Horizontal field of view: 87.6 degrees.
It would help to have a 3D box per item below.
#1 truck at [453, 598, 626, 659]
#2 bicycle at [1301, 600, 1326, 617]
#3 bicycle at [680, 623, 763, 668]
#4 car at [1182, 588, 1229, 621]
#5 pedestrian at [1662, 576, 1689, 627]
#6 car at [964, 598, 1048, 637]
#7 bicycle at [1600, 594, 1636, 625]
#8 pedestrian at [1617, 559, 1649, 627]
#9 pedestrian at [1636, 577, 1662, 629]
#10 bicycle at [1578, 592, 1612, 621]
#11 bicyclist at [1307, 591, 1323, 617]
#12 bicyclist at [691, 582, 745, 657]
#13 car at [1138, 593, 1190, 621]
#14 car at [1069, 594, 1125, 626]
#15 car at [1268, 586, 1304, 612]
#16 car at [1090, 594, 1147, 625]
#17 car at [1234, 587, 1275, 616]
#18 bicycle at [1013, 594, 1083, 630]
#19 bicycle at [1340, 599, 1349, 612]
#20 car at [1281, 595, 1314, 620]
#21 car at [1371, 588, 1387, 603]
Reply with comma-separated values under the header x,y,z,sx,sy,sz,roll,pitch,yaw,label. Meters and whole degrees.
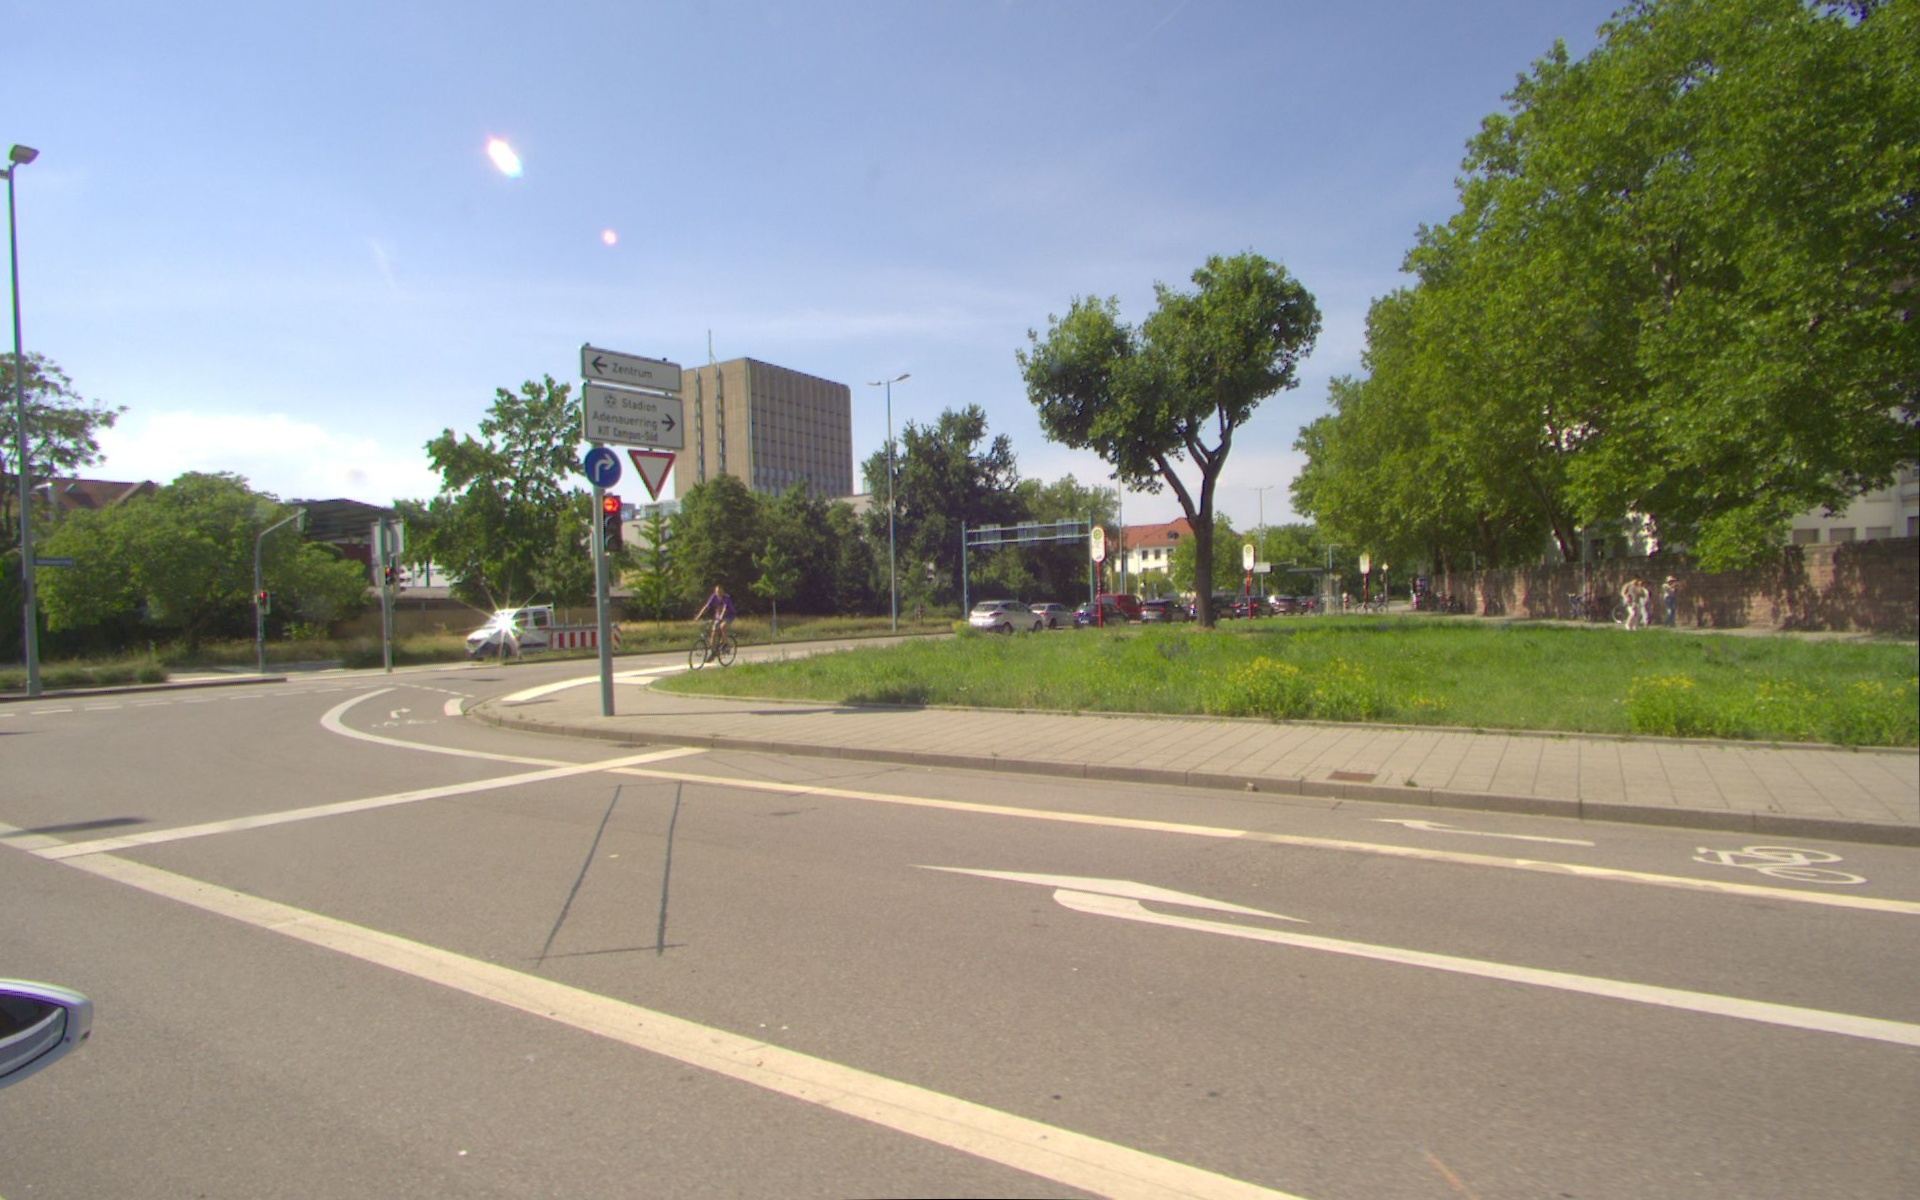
x,y,z,sx,sy,sz,roll,pitch,yaw,label
-18.809,1.202,45.264,2.380,2.386,7.007,-3,-1,33,truck
28.341,0.674,80.247,0.838,1.233,3.462,-2,-2,37,bicycle
-5.356,1.014,22.617,0.675,0.899,1.923,-1,0,30,bicycle
16.499,0.281,67.206,1.971,2.040,3.980,-1,1,30,car
22.605,0.046,31.632,0.515,1.599,0.701,-2,1,23,pedestrian
2.157,0.793,46.341,1.691,1.640,4.183,-1,1,40,car
23.489,0.328,35.776,0.439,1.047,1.447,-1,1,6,bicycle
20.707,-0.206,30.811,0.513,2.040,0.596,-2,1,-9,pedestrian
21.822,0.087,31.717,0.515,1.599,0.701,-2,1,23,pedestrian
23.651,0.241,37.318,0.439,1.047,1.447,-1,1,6,bicycle
28.588,0.295,80.624,0.769,2.039,1.265,-2,-2,38,bicyclist
-5.443,0.448,22.516,1.068,1.659,0.486,-1,1,29,bicyclist
12.487,0.397,61.171,1.564,1.612,3.972,-1,1,37,car
7.393,0.527,53.837,1.561,1.612,3.980,-1,0,30,car
26.404,-0.083,81.021,1.971,2.040,3.980,-1,1,30,car
10.097,0.597,63.428,1.950,1.821,4.587,-1,0,31,car
21.756,0.120,73.933,1.971,2.040,3.980,-1,1,30,car
4.948,0.641,55.838,1.976,1.839,3.970,-2,0,38,bicycle
33.748,0.496,87.869,0.552,1.066,1.318,-1,1,30,bicycle
29.350,0.686,86.954,1.970,2.039,3.984,-1,-2,29,car
65.351,-0.709,156.113,1.968,2.039,3.987,-1,-2,26,car
